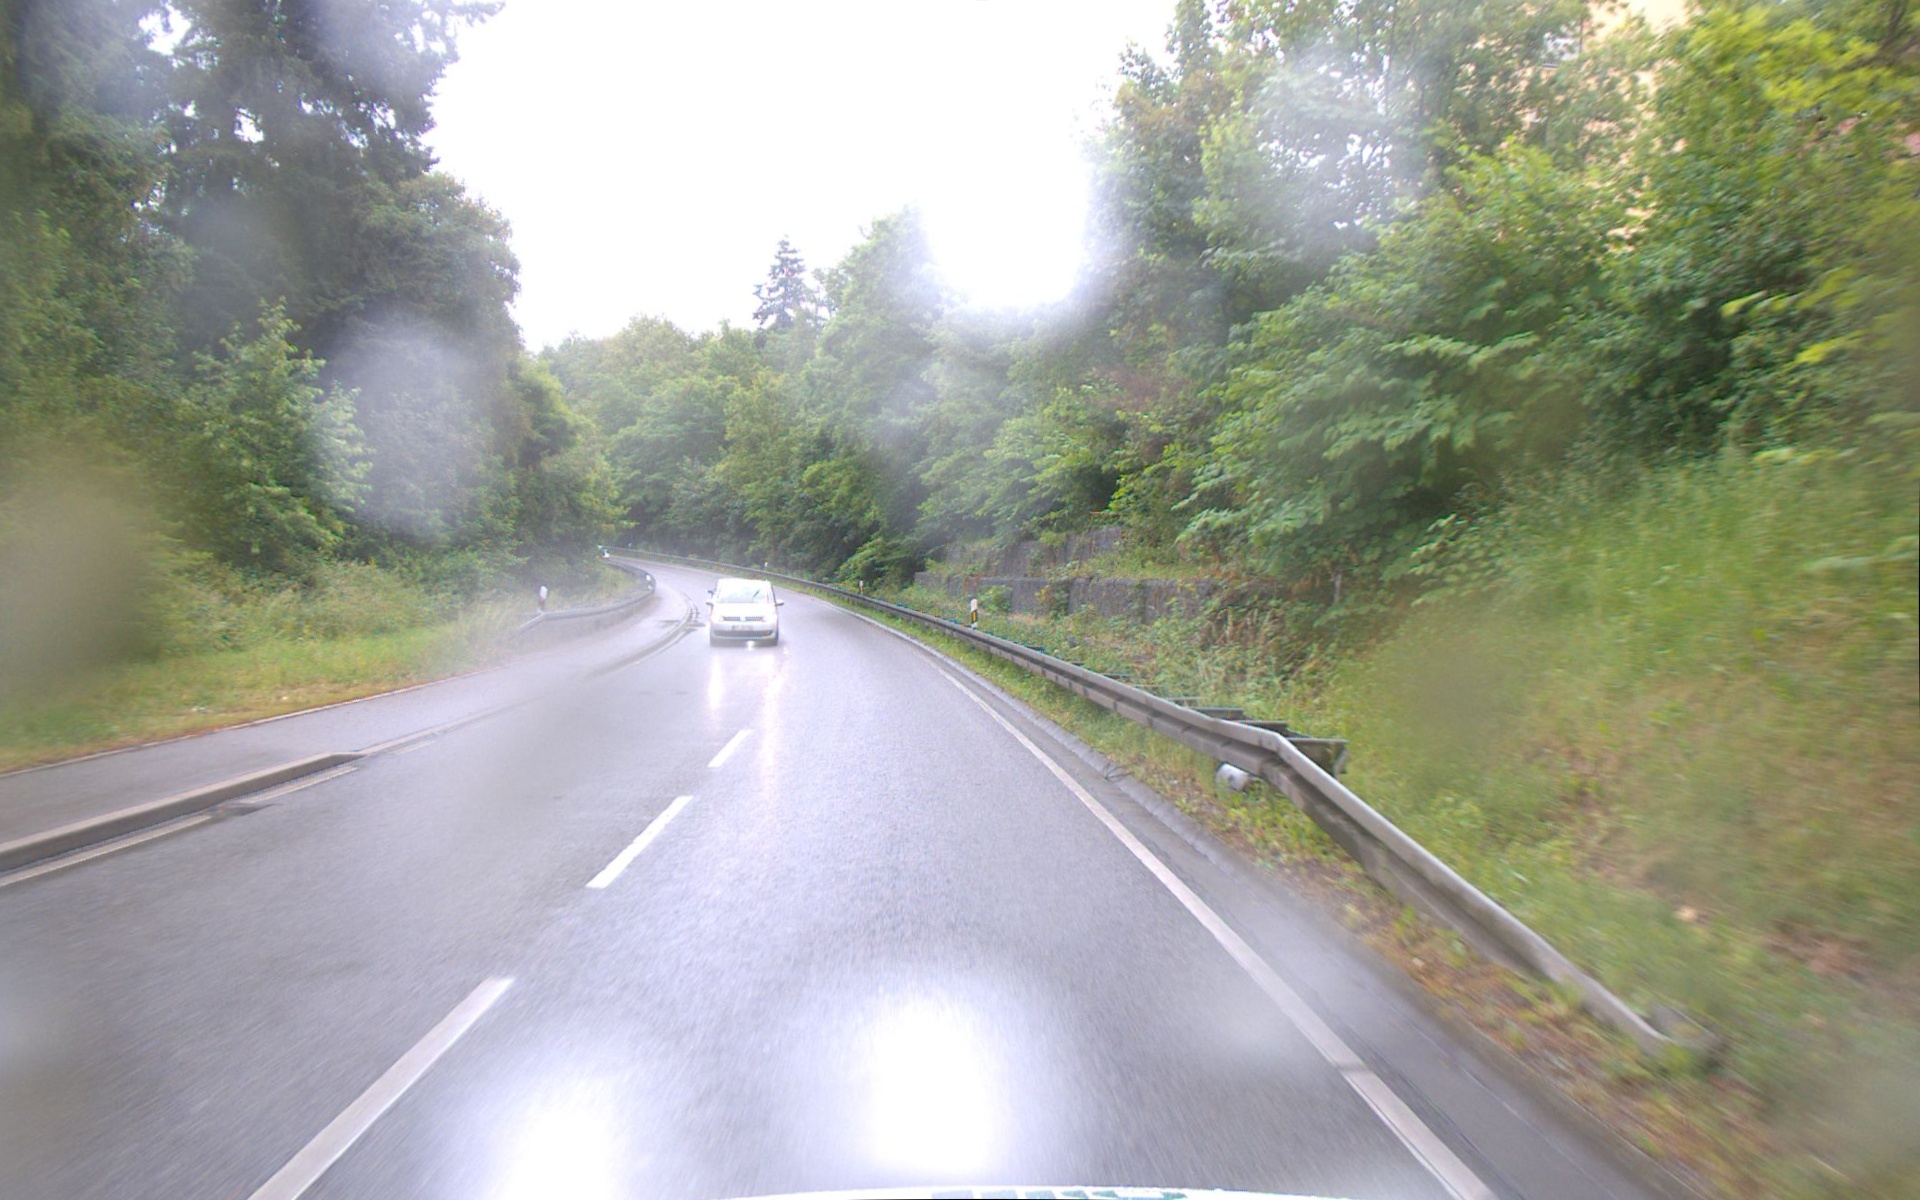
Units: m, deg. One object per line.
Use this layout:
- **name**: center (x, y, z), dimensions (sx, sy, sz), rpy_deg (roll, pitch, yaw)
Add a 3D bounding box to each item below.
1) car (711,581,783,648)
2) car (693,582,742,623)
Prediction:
- **car**: center (-5.632, 0.379, 43.724), dimensions (1.780, 1.676, 4.124), rpy_deg (1, 0, -7)
- **car**: center (-9.467, 0.086, 64.493), dimensions (1.781, 1.459, 3.992), rpy_deg (3, 0, -9)
